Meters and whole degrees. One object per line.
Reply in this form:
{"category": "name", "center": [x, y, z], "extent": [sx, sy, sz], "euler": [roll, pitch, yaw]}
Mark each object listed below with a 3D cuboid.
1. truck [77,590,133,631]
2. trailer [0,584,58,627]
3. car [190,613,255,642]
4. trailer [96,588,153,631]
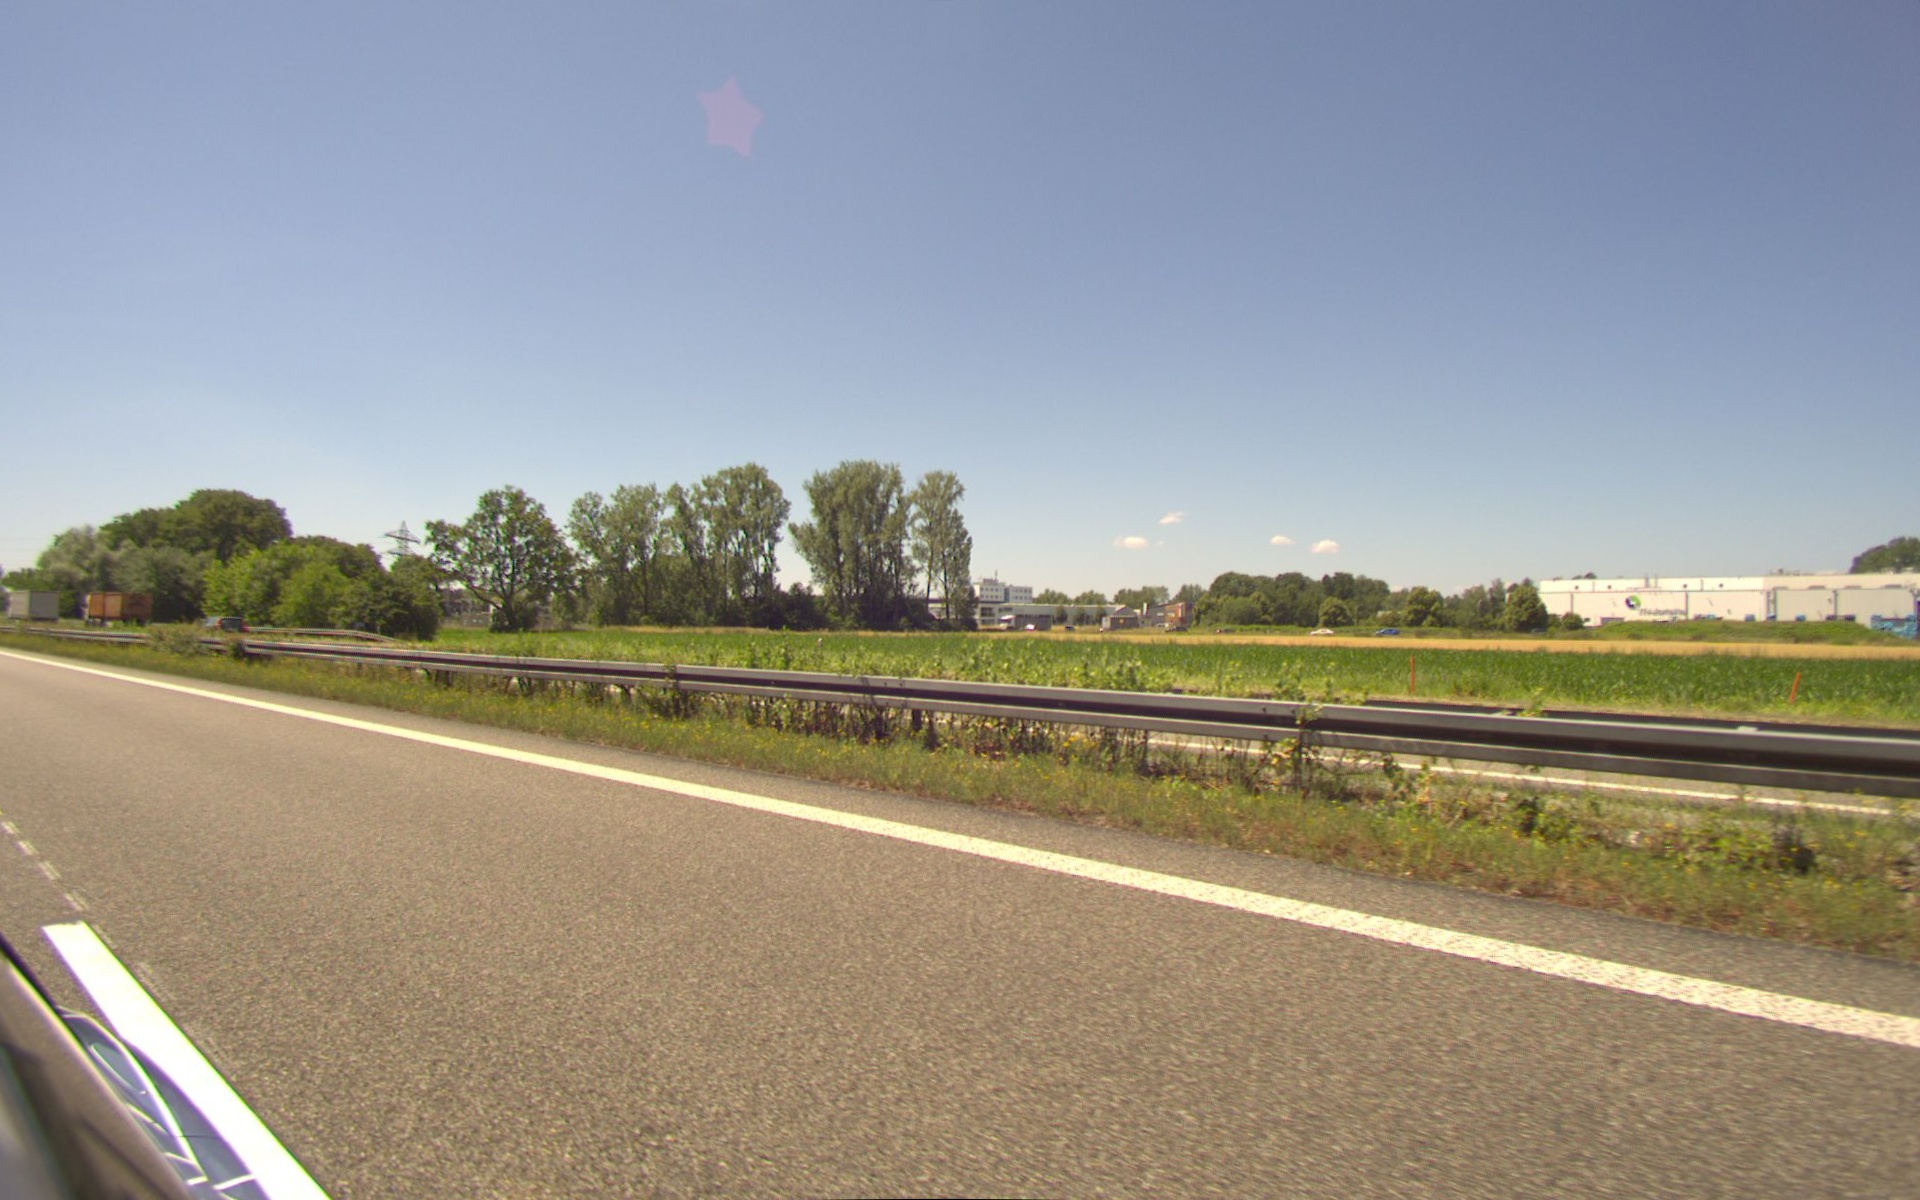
{"category": "truck", "center": [-88.290, 1.088, 104.419], "extent": [10.821, 3.914, 2.621], "euler": [-1, -4, 41]}
{"category": "trailer", "center": [-102.376, 0.649, 111.082], "extent": [13.319, 4.456, 3.162], "euler": [0, -2, 41]}
{"category": "car", "center": [-44.244, 1.627, 60.648], "extent": [5.550, 1.693, 1.972], "euler": [-1, -2, 41]}
{"category": "trailer", "center": [-80.947, 0.967, 98.009], "extent": [8.656, 3.950, 2.631], "euler": [-1, -4, 41]}
